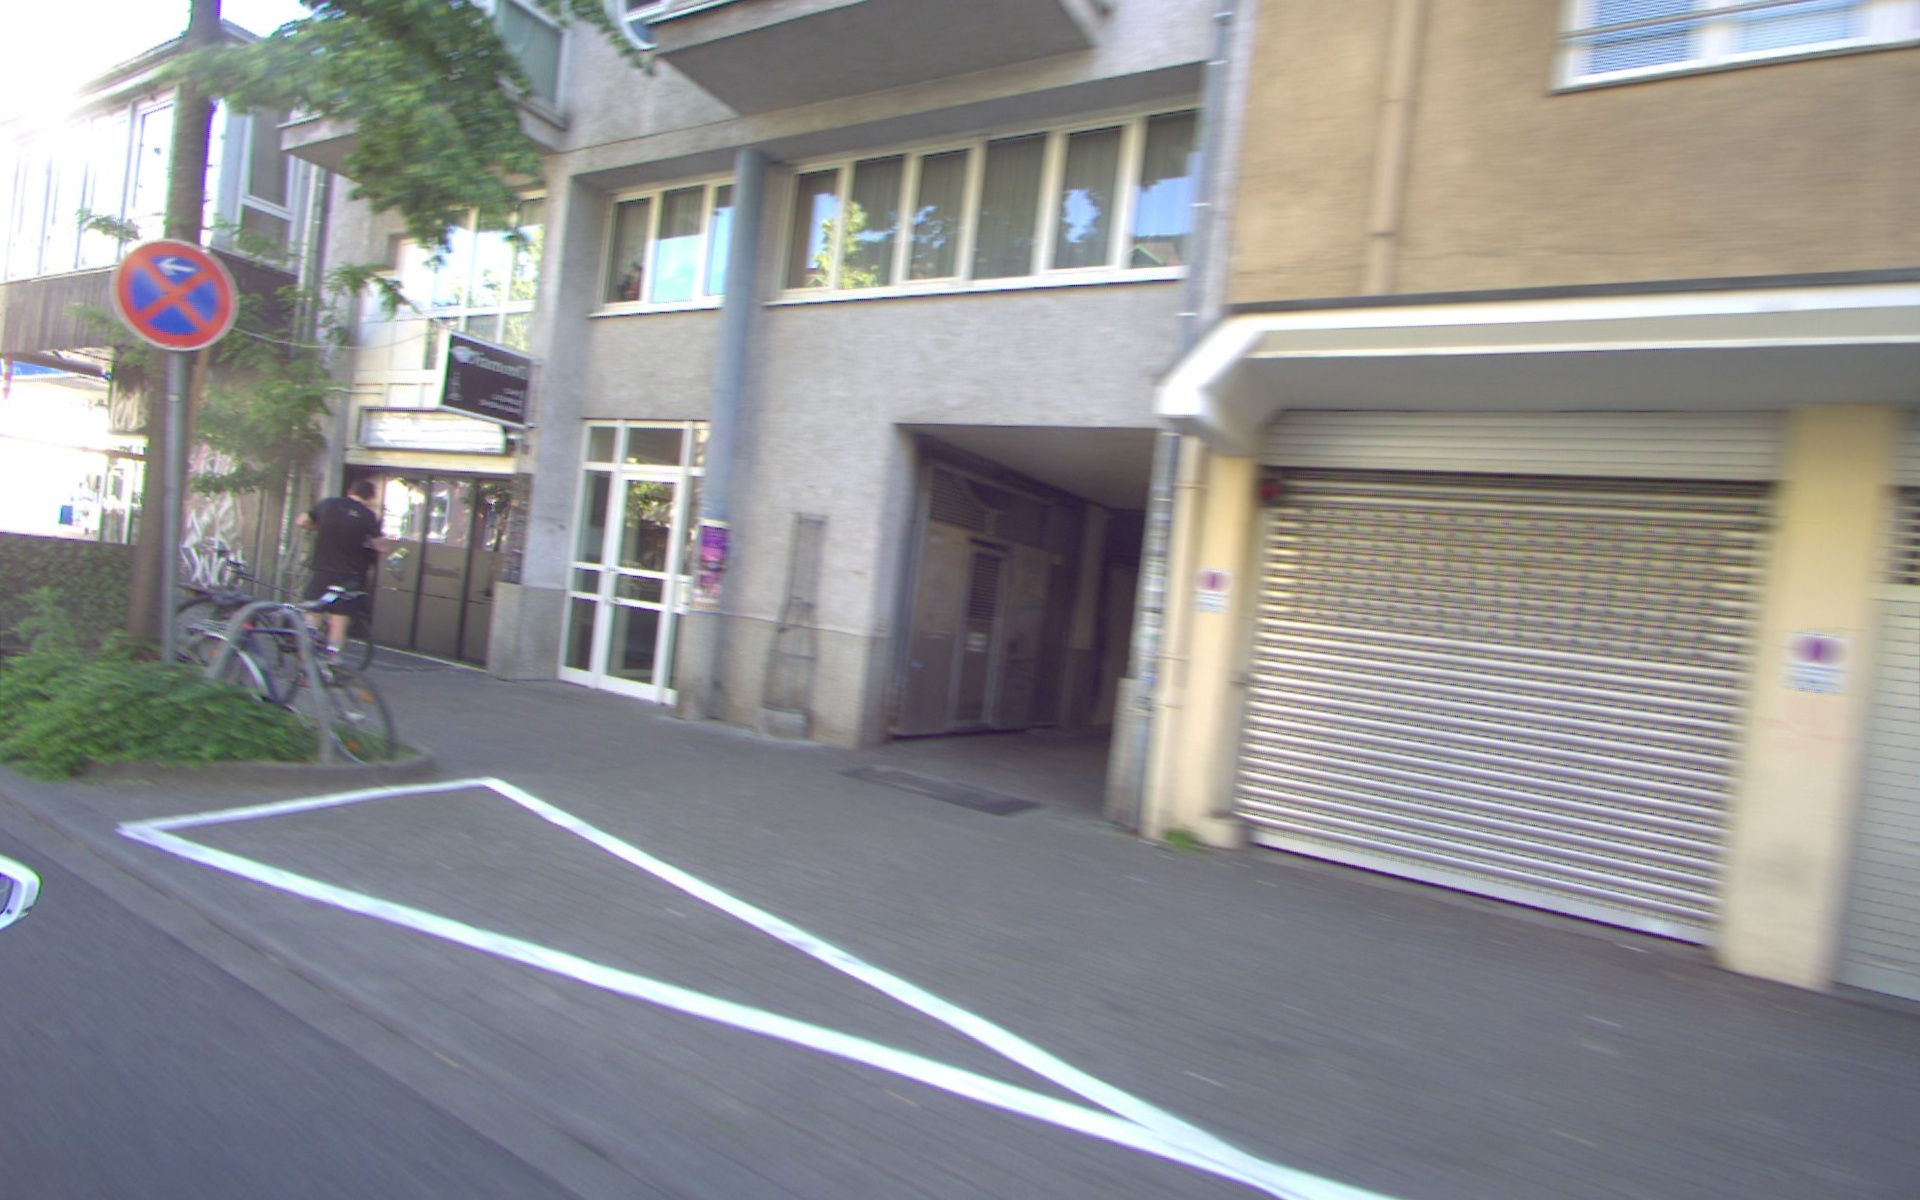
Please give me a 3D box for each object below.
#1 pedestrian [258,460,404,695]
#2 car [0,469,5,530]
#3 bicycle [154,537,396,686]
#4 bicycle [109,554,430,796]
[{"bbox_3d":[-5.701,-0.189,9.139,0.919,1.960,0.754,6,1,-34],"label":"pedestrian"},{"bbox_3d":[-28.701,-3.042,28.126,4.223,1.669,1.902,7,1,33],"label":"car"},{"bbox_3d":[-6.400,0.112,9.487,1.657,1.163,0.680,7,1,-11],"label":"bicycle"},{"bbox_3d":[-4.229,0.388,6.153,2.018,1.137,0.607,7,8,22],"label":"bicycle"}]
